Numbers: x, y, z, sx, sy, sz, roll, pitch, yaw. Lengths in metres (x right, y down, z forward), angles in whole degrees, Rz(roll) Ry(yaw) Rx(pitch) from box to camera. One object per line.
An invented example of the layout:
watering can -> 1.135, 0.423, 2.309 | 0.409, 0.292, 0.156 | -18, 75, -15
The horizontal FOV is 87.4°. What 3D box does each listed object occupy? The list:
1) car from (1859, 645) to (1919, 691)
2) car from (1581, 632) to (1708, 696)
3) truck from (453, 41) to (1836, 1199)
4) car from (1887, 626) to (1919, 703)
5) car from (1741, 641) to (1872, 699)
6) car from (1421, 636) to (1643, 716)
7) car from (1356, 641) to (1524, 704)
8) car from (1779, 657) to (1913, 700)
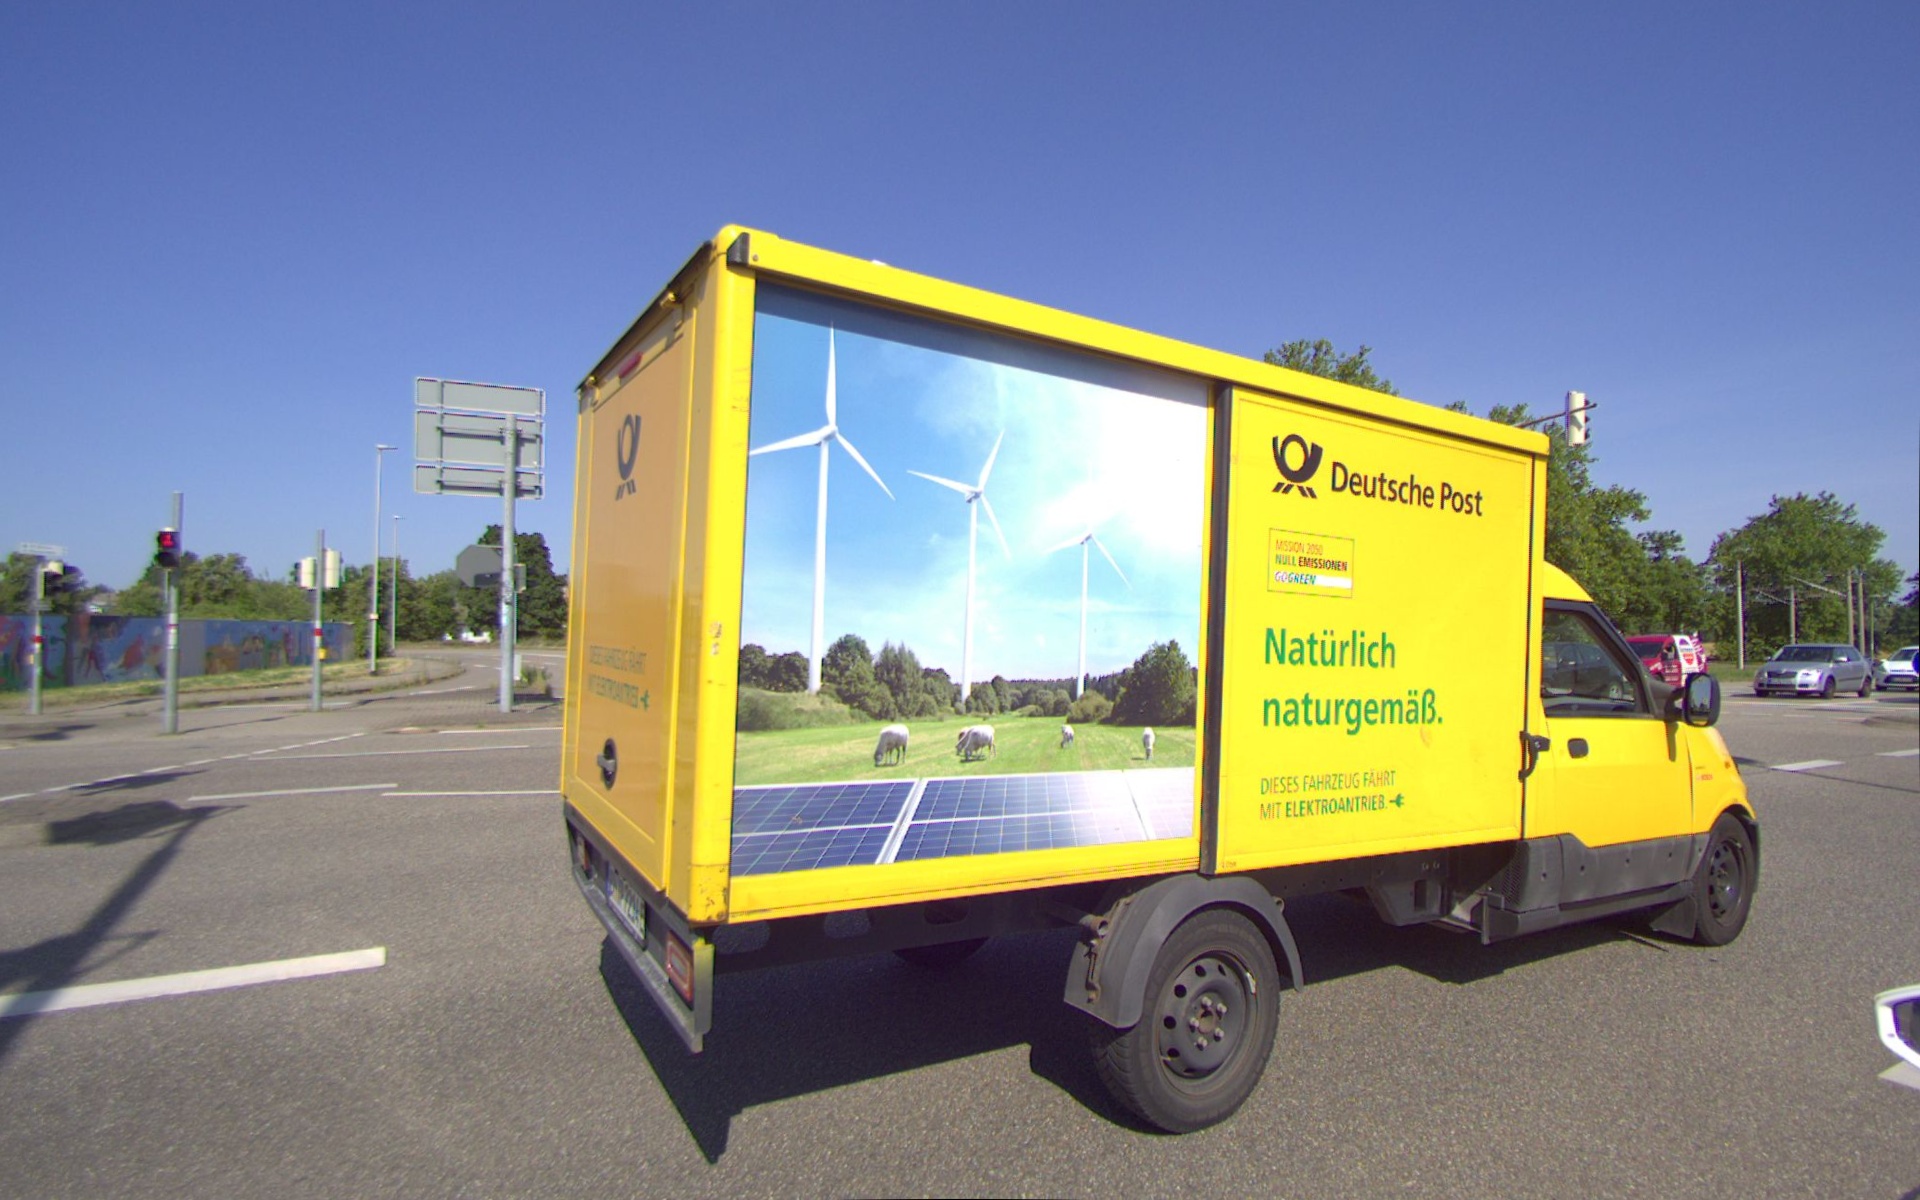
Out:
car -> 30.830, 2.159, 32.197 | 3.795, 1.404, 1.822 | 2, -2, -28
car -> 20.453, 1.884, 29.973 | 4.185, 1.793, 1.694 | 2, -3, -34
truck -> 1.209, 0.301, 4.269 | 5.849, 2.490, 2.101 | 2, -1, -31
car -> 24.445, 1.548, 24.042 | 4.451, 1.773, 1.974 | 2, -2, -28
car -> 23.337, 1.885, 27.670 | 3.827, 1.476, 1.611 | 2, -2, -31
car -> 11.685, 1.492, 20.487 | 4.278, 1.476, 1.974 | 2, -2, -28
car -> 12.347, 1.819, 25.790 | 4.179, 1.476, 1.877 | 2, -2, -30
car -> 33.664, 2.939, 38.131 | 5.546, 1.493, 1.986 | 2, -2, -28
